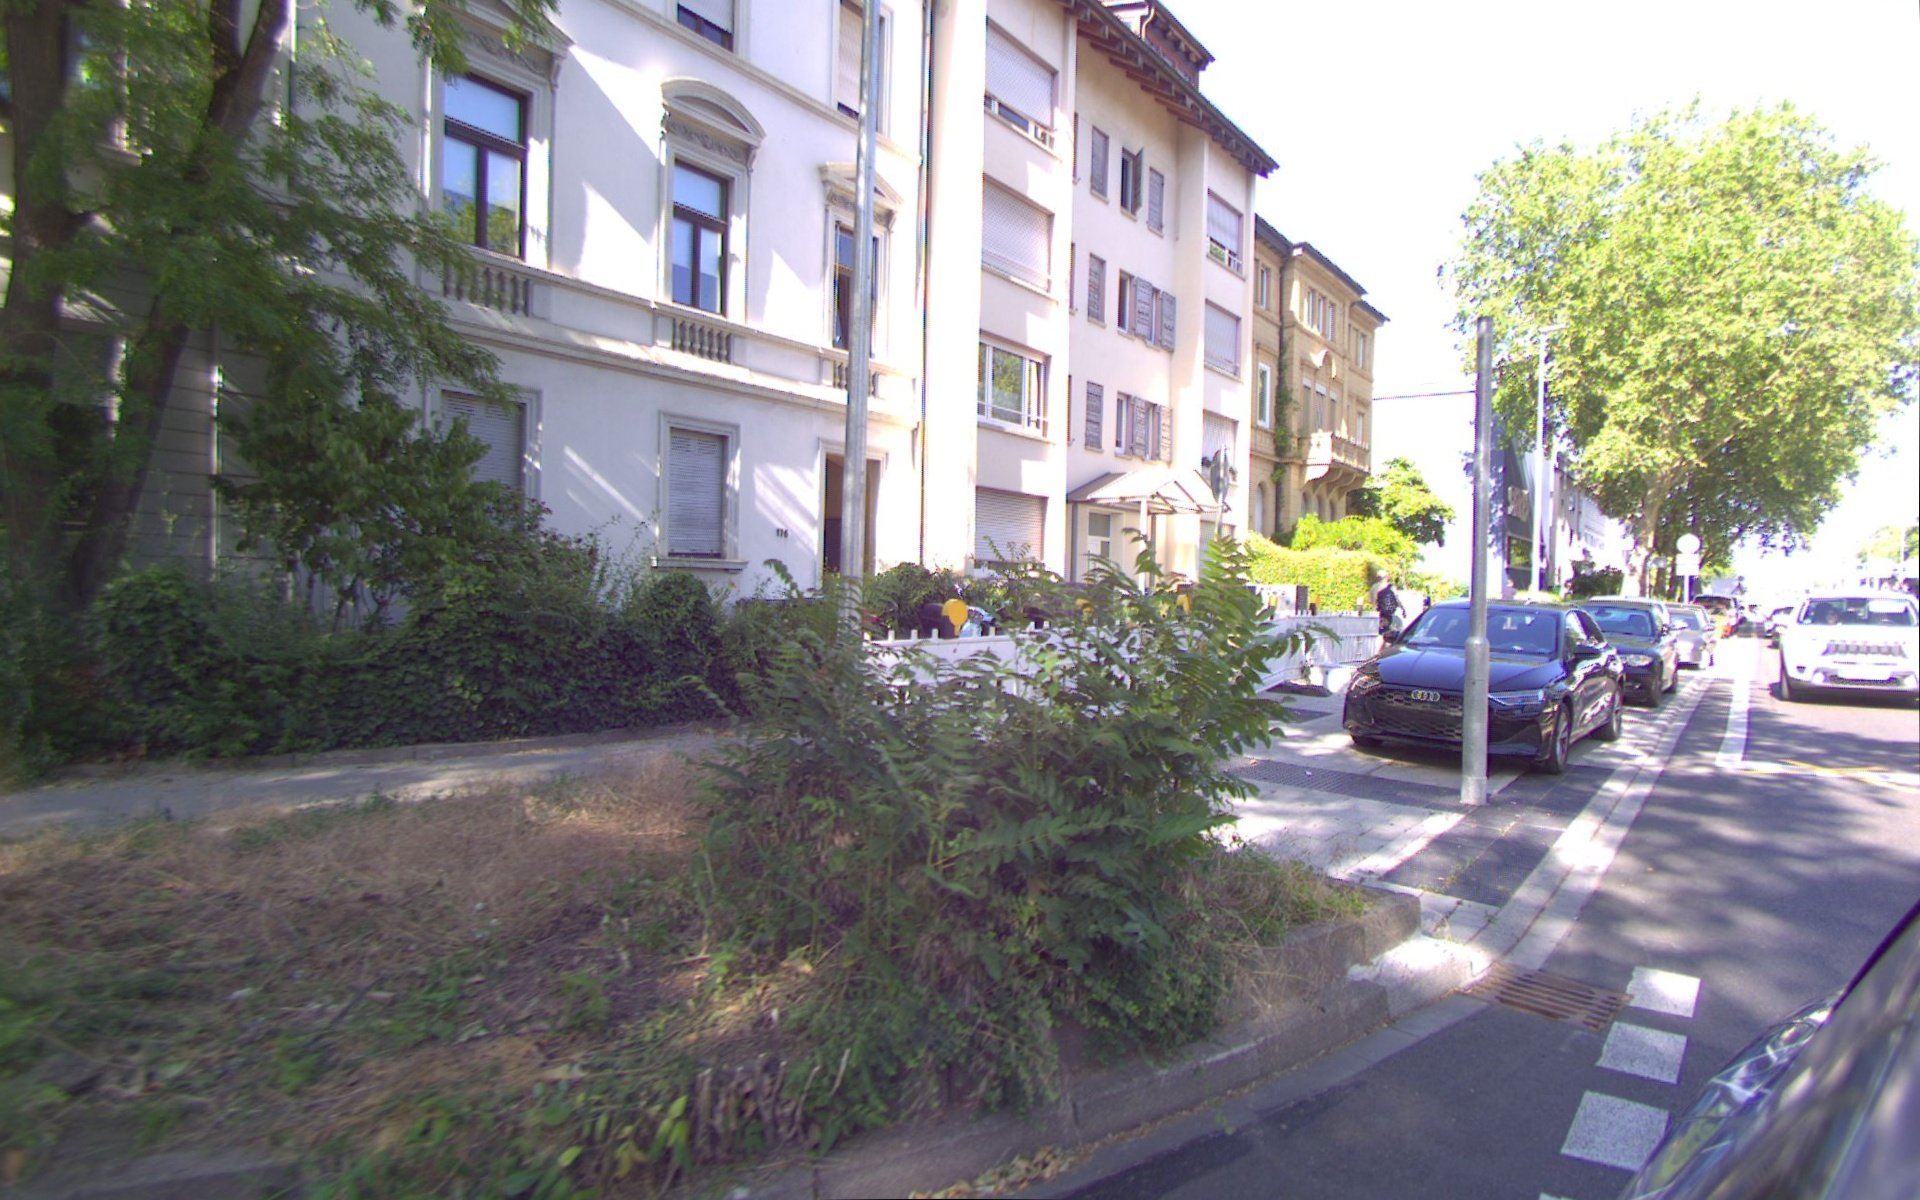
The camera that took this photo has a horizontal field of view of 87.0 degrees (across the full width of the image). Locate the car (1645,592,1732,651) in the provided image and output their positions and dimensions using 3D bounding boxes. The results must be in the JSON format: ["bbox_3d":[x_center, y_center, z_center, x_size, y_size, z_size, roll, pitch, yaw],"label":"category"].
[{"bbox_3d":[20.979,0.552,29.068,1.714,1.429,4.413,6,4,39],"label":"car"}]

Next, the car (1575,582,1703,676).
[{"bbox_3d":[12.838,0.476,19.043,1.618,1.504,3.681,4,2,39],"label":"car"}]

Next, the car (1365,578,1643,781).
[{"bbox_3d":[5.463,0.597,9.890,1.618,1.504,4.039,4,2,39],"label":"car"}]

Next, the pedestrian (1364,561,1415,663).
[{"bbox_3d":[8.153,0.219,19.200,0.664,1.872,0.684,2,1,40],"label":"pedestrian"}]

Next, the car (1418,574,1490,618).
[{"bbox_3d":[21.831,-0.217,44.856,1.771,1.844,3.989,2,2,10],"label":"car"}]

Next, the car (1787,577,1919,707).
[{"bbox_3d":[13.937,0.553,15.547,1.860,1.748,4.443,0,0,39],"label":"car"}]

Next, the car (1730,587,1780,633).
[{"bbox_3d":[37.748,0.441,48.042,1.746,1.990,4.443,2,1,39],"label":"car"}]

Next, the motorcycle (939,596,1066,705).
[{"bbox_3d":[0.522,0.560,11.971,1.529,1.201,0.597,0,1,-44],"label":"motorcycle"}]

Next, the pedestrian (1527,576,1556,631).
[{"bbox_3d":[19.361,0.109,33.694,0.696,1.818,0.705,2,1,39],"label":"pedestrian"}]

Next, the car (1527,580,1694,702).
[{"bbox_3d":[9.800,0.516,15.105,1.618,1.504,3.999,4,2,39],"label":"car"}]

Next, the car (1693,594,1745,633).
[{"bbox_3d":[33.075,0.550,44.062,1.667,1.536,3.941,2,2,39],"label":"car"}]

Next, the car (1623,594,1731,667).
[{"bbox_3d":[16.467,0.623,23.182,1.714,1.430,3.991,4,2,39],"label":"car"}]

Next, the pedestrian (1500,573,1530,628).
[{"bbox_3d":[18.789,0.011,34.253,0.696,1.818,0.790,2,1,39],"label":"pedestrian"}]

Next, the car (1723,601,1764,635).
[{"bbox_3d":[42.006,0.935,54.207,1.624,1.655,4.160,2,1,39],"label":"car"}]
